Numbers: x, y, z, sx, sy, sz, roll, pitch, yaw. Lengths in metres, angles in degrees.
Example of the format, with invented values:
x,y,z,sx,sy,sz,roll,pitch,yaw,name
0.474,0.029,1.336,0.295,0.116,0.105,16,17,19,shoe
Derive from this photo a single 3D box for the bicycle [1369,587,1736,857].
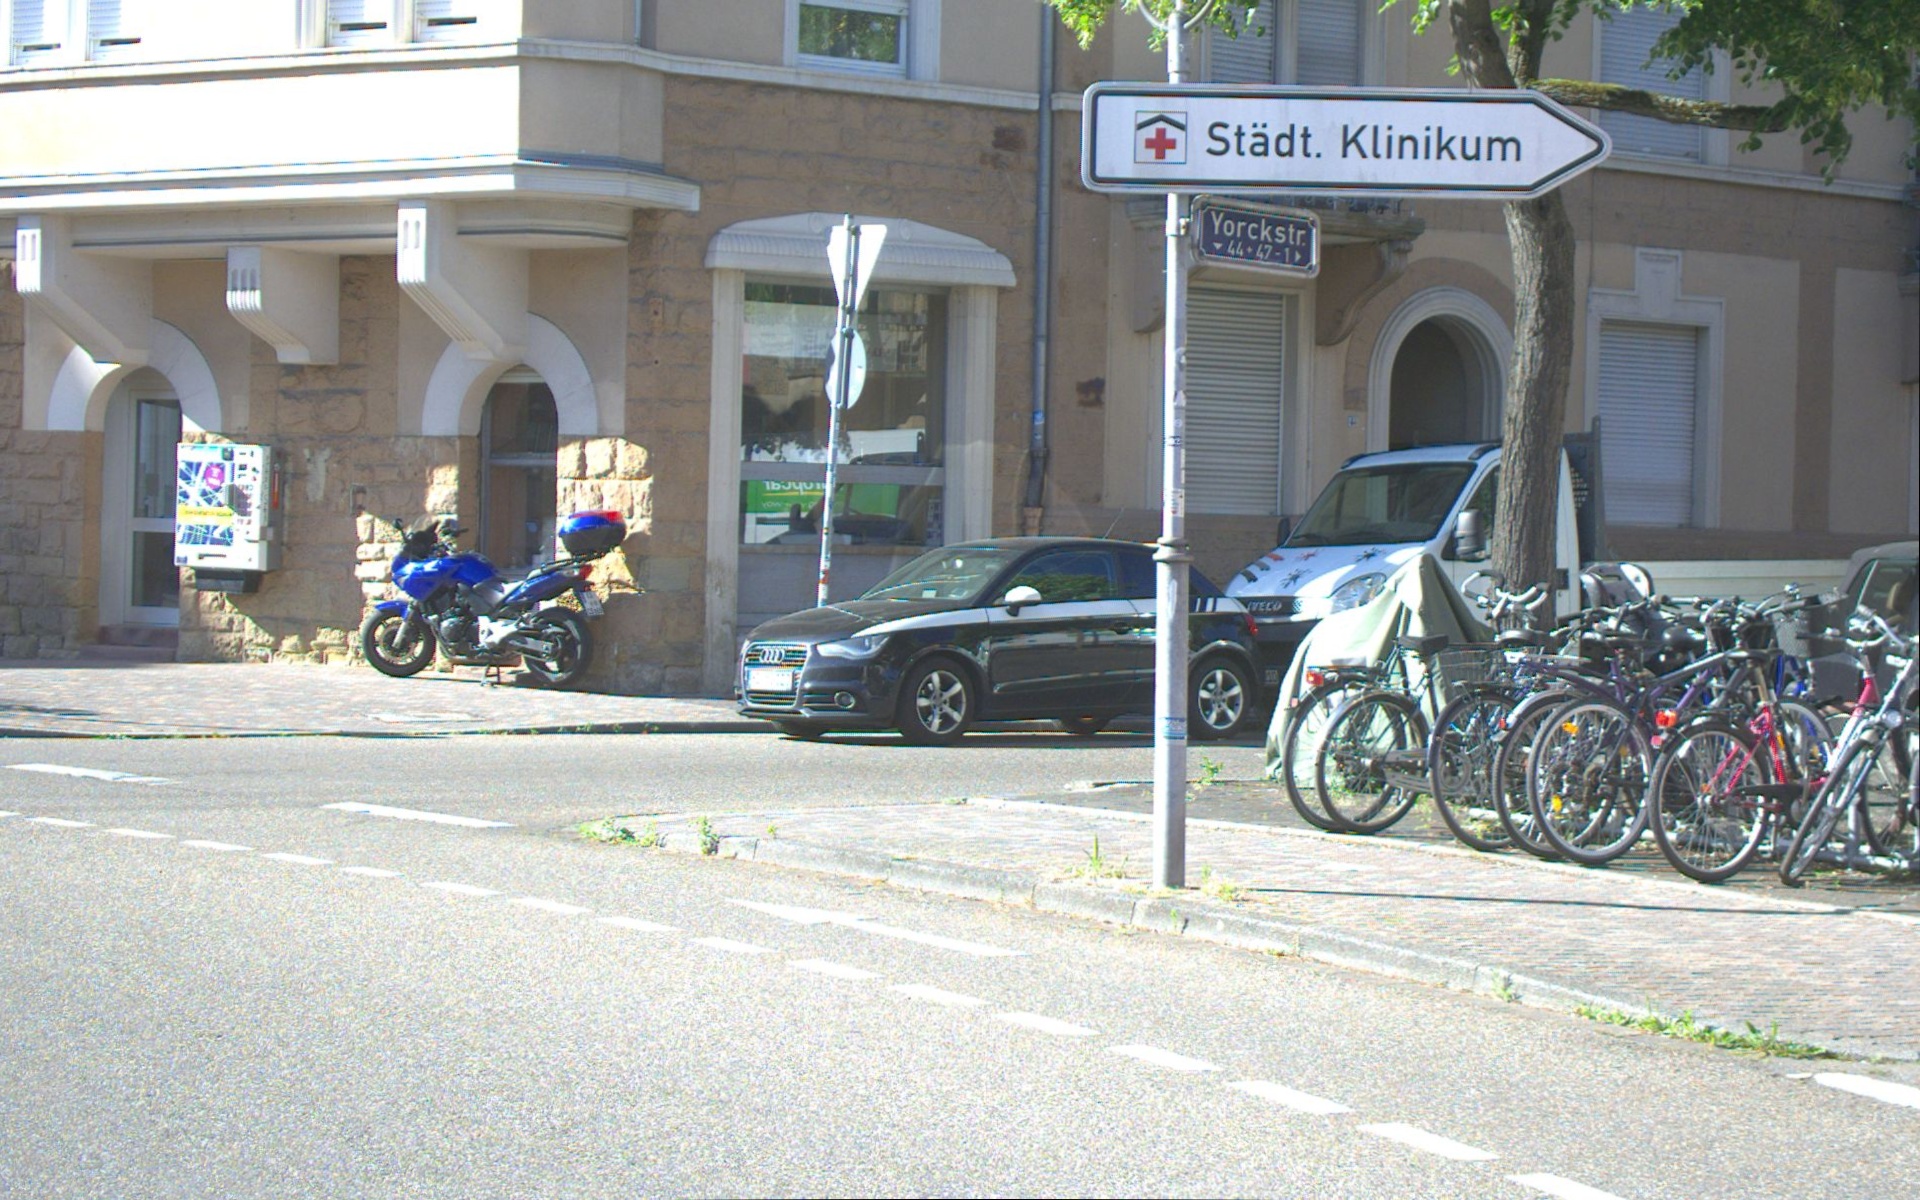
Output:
x,y,z,sx,sy,sz,roll,pitch,yaw,name
2.655,0.519,15.351,1.597,1.123,0.589,0,3,-32,bicycle

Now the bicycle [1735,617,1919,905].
x,y,z,sx,sy,sz,roll,pitch,yaw,name
3.876,0.622,13.852,1.568,1.085,0.419,0,3,-30,bicycle

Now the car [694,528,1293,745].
x,y,z,sx,sy,sz,roll,pitch,yaw,name
0.273,0.227,23.765,3.910,1.385,1.688,0,1,-37,car

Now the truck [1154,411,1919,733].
x,y,z,sx,sy,sz,roll,pitch,yaw,name
4.843,-0.200,27.081,6.599,2.284,2.139,0,1,-33,truck

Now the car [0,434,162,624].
x,y,z,sx,sy,sz,roll,pitch,yaw,name
-10.381,-0.774,36.807,2.135,1.902,4.560,2,1,6,car

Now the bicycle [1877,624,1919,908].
x,y,z,sx,sy,sz,roll,pitch,yaw,name
4.364,0.644,13.618,1.521,1.082,0.419,0,3,-30,bicycle

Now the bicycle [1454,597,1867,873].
x,y,z,sx,sy,sz,roll,pitch,yaw,name
3.011,0.549,14.733,1.724,1.085,0.657,0,3,-32,bicycle

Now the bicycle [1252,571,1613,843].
x,y,z,sx,sy,sz,roll,pitch,yaw,name
2.208,0.474,15.998,1.674,1.188,0.538,0,3,-32,bicycle

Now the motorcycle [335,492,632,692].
x,y,z,sx,sy,sz,roll,pitch,yaw,name
-3.724,-0.084,26.824,2.247,1.406,0.699,4,3,26,motorcycle

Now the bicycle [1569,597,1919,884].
x,y,z,sx,sy,sz,roll,pitch,yaw,name
3.322,0.552,14.154,1.644,1.098,0.500,0,3,-30,bicycle

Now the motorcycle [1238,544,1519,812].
x,y,z,sx,sy,sz,roll,pitch,yaw,name
2.160,0.374,17.964,0.536,1.266,1.712,0,3,-28,motorcycle
